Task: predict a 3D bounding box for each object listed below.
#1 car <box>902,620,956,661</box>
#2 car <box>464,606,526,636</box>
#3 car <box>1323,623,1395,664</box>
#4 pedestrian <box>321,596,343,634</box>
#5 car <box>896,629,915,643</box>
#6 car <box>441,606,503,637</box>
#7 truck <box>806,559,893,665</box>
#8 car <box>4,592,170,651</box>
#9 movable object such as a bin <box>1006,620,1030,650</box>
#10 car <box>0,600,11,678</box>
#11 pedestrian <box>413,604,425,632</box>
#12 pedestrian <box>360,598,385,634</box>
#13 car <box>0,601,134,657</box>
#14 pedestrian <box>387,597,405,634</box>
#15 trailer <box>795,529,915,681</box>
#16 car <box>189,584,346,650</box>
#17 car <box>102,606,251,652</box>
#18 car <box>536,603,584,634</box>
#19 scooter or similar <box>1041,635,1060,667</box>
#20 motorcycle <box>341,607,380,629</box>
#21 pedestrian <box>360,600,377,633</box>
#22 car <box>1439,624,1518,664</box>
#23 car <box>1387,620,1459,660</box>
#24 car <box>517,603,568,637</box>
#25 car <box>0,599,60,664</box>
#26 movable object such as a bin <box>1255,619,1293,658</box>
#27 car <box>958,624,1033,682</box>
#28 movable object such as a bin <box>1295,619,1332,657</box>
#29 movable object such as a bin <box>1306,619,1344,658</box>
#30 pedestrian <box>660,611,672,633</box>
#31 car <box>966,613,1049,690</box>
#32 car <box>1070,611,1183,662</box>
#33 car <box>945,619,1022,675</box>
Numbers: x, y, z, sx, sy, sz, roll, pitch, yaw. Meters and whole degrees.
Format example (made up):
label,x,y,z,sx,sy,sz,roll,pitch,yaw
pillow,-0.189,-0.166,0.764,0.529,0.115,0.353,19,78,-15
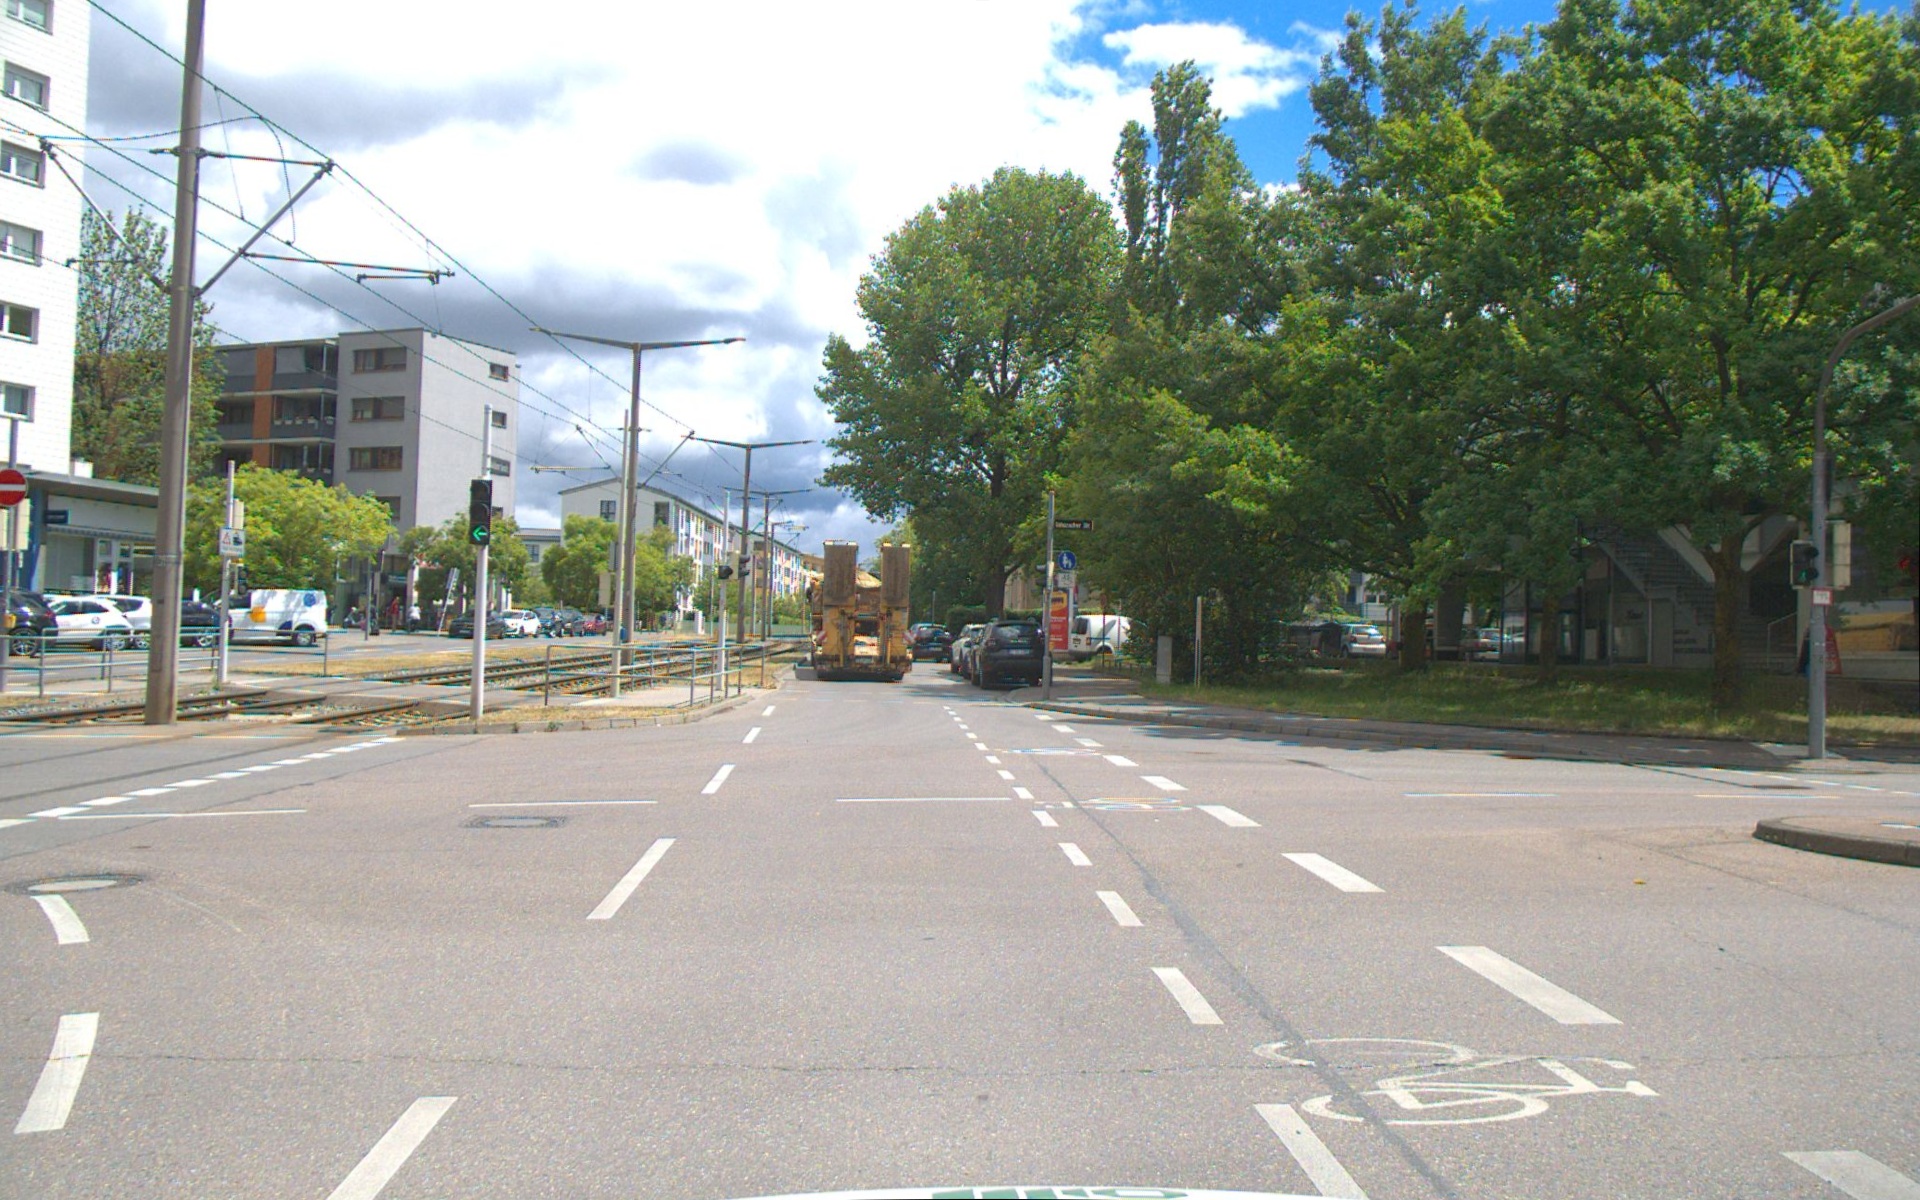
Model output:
label,x,y,z,sx,sy,sz,roll,pitch,yaw
car,-1.216,1.543,64.215,1.780,1.474,3.821,1,0,-6
car,-24.046,1.079,85.674,1.717,1.501,4.402,1,0,3
car,15.971,1.735,66.342,1.900,1.516,4.000,1,0,0
pedestrian,-30.266,0.735,79.690,0.831,1.824,0.865,1,-1,-30
car,-5.894,3.887,177.893,1.953,1.411,3.998,1,0,-2
car,-23.825,1.056,80.940,1.699,1.453,4.380,0,-1,0
truck,-3.825,0.399,57.125,2.778,3.389,7.977,1,0,-4
car,-25.937,0.628,49.219,1.873,1.660,3.976,0,0,42
movable object such as a bin,2.857,1.723,81.356,1.076,1.464,0.761,1,0,-5
car,-20.351,0.776,31.929,1.780,1.559,3.755,1,0,2
pedestrian,-29.277,0.960,89.454,0.492,1.486,0.555,1,-1,-30
pedestrian,-27.444,0.739,77.253,0.823,1.678,0.613,2,-1,8
car,-25.452,0.798,46.434,3.734,1.522,1.721,1,0,-42
pedestrian,-28.008,0.749,82.165,0.599,1.824,0.843,1,0,-3
trailer,-3.077,0.139,47.859,2.990,3.839,11.602,1,0,-4
car,-24.174,0.582,57.863,4.725,2.194,1.876,1,0,-44
car,-25.253,0.922,53.367,3.969,1.408,1.876,1,0,-44
car,-23.100,1.057,95.601,1.954,1.692,4.096,2,0,-4
scooter or similar,3.091,1.759,56.734,0.468,1.073,0.895,1,0,-8
motorcycle,-33.031,0.993,91.174,1.855,1.199,0.741,1,0,-5
pedestrian,-28.968,0.791,81.023,0.656,1.601,0.682,1,-1,-30
car,20.708,1.734,66.184,1.708,1.496,3.998,1,0,-3
car,18.347,1.559,65.731,1.708,1.468,4.000,1,0,0
car,-22.736,1.070,90.150,1.954,1.692,4.096,2,0,-4
car,-25.061,0.788,41.504,1.898,1.619,3.977,0,0,41
movable object such as a bin,11.932,1.448,62.907,1.093,1.455,1.284,1,0,-5
car,0.966,1.460,46.478,1.612,1.483,4.070,1,0,-6
movable object such as a bin,13.883,1.474,65.072,1.093,1.455,1.284,1,0,-5
movable object such as a bin,14.015,1.474,63.617,1.093,1.455,1.284,1,0,-5
pedestrian,-22.939,1.696,129.189,0.734,1.691,0.869,1,0,2
car,1.159,1.258,41.987,1.611,1.793,4.565,1,0,-5
car,6.314,1.373,62.626,3.937,1.855,1.796,1,0,-26
car,0.677,1.424,51.216,1.750,1.592,4.562,1,0,-7
